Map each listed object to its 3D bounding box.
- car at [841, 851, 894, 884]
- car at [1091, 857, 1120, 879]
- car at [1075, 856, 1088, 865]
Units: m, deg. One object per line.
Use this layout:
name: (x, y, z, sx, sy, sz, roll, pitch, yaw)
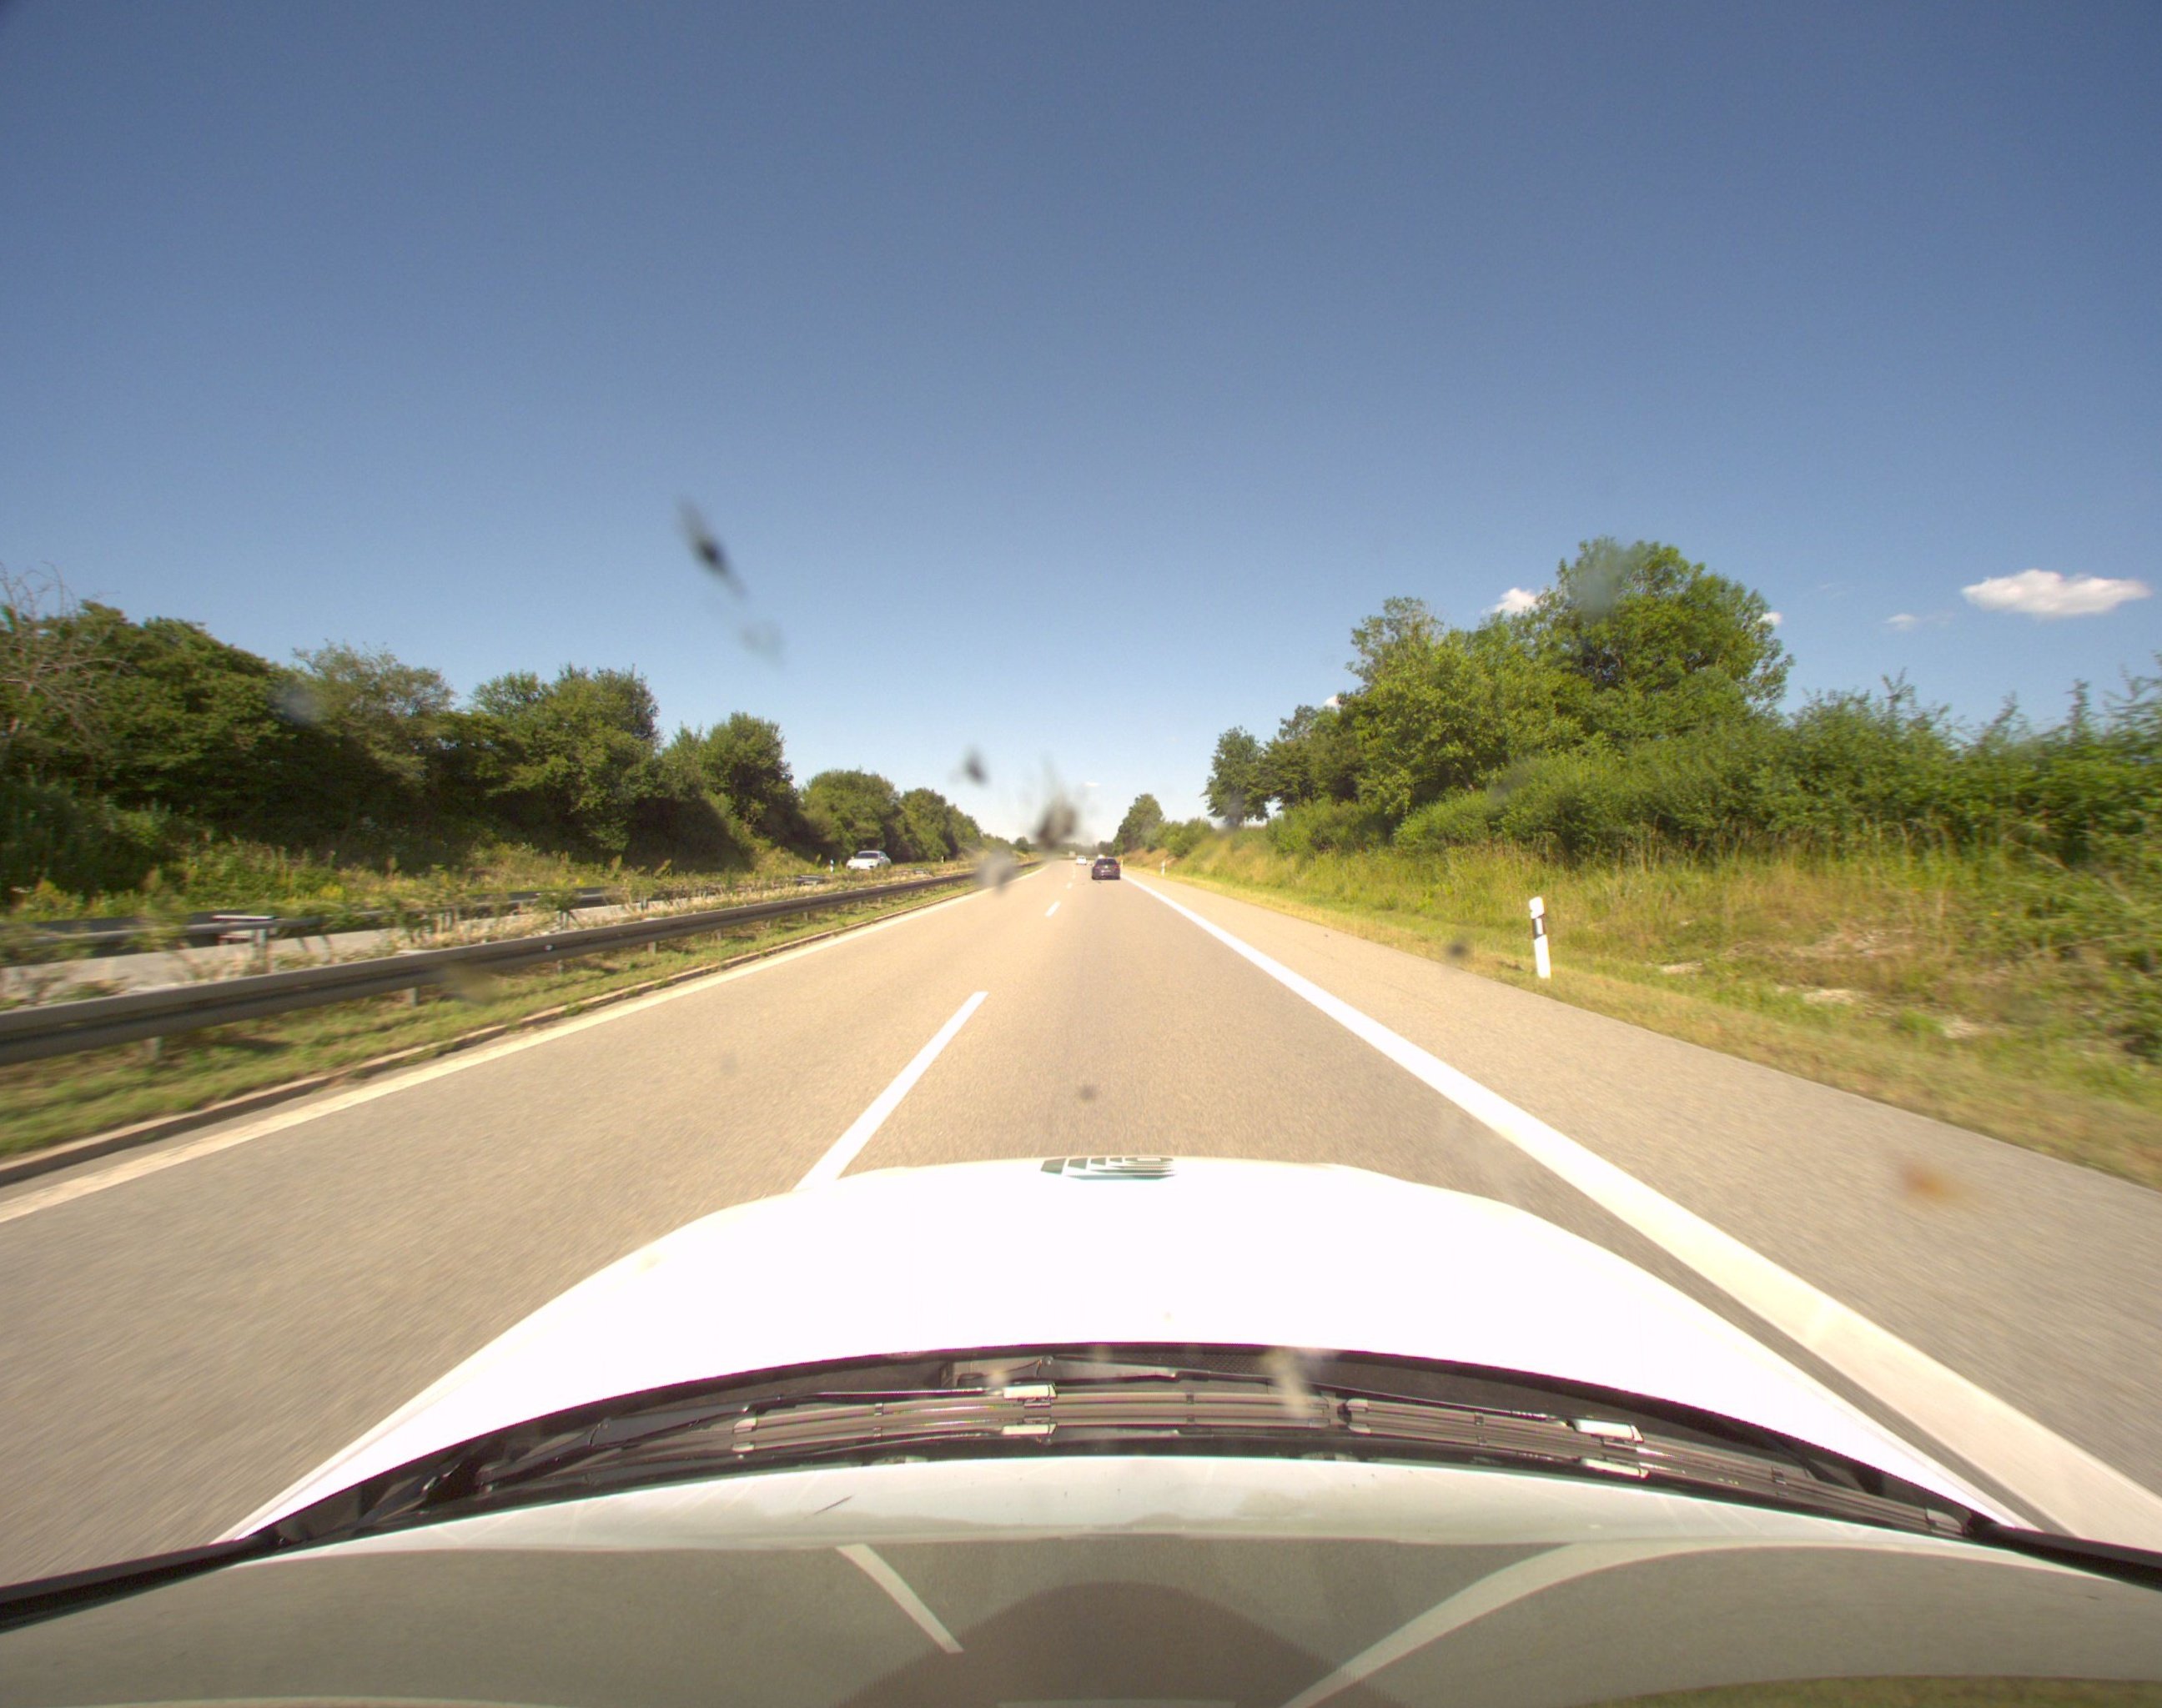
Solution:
car: (-13.504, 0.835, 51.770, 1.986, 2.014, 4.856, 0, 0, 1)
car: (1.577, 0.872, 52.791, 1.784, 1.344, 4.001, -1, 0, 1)
car: (0.005, 1.207, 142.414, 2.002, 1.344, 3.995, 4, -1, -3)
